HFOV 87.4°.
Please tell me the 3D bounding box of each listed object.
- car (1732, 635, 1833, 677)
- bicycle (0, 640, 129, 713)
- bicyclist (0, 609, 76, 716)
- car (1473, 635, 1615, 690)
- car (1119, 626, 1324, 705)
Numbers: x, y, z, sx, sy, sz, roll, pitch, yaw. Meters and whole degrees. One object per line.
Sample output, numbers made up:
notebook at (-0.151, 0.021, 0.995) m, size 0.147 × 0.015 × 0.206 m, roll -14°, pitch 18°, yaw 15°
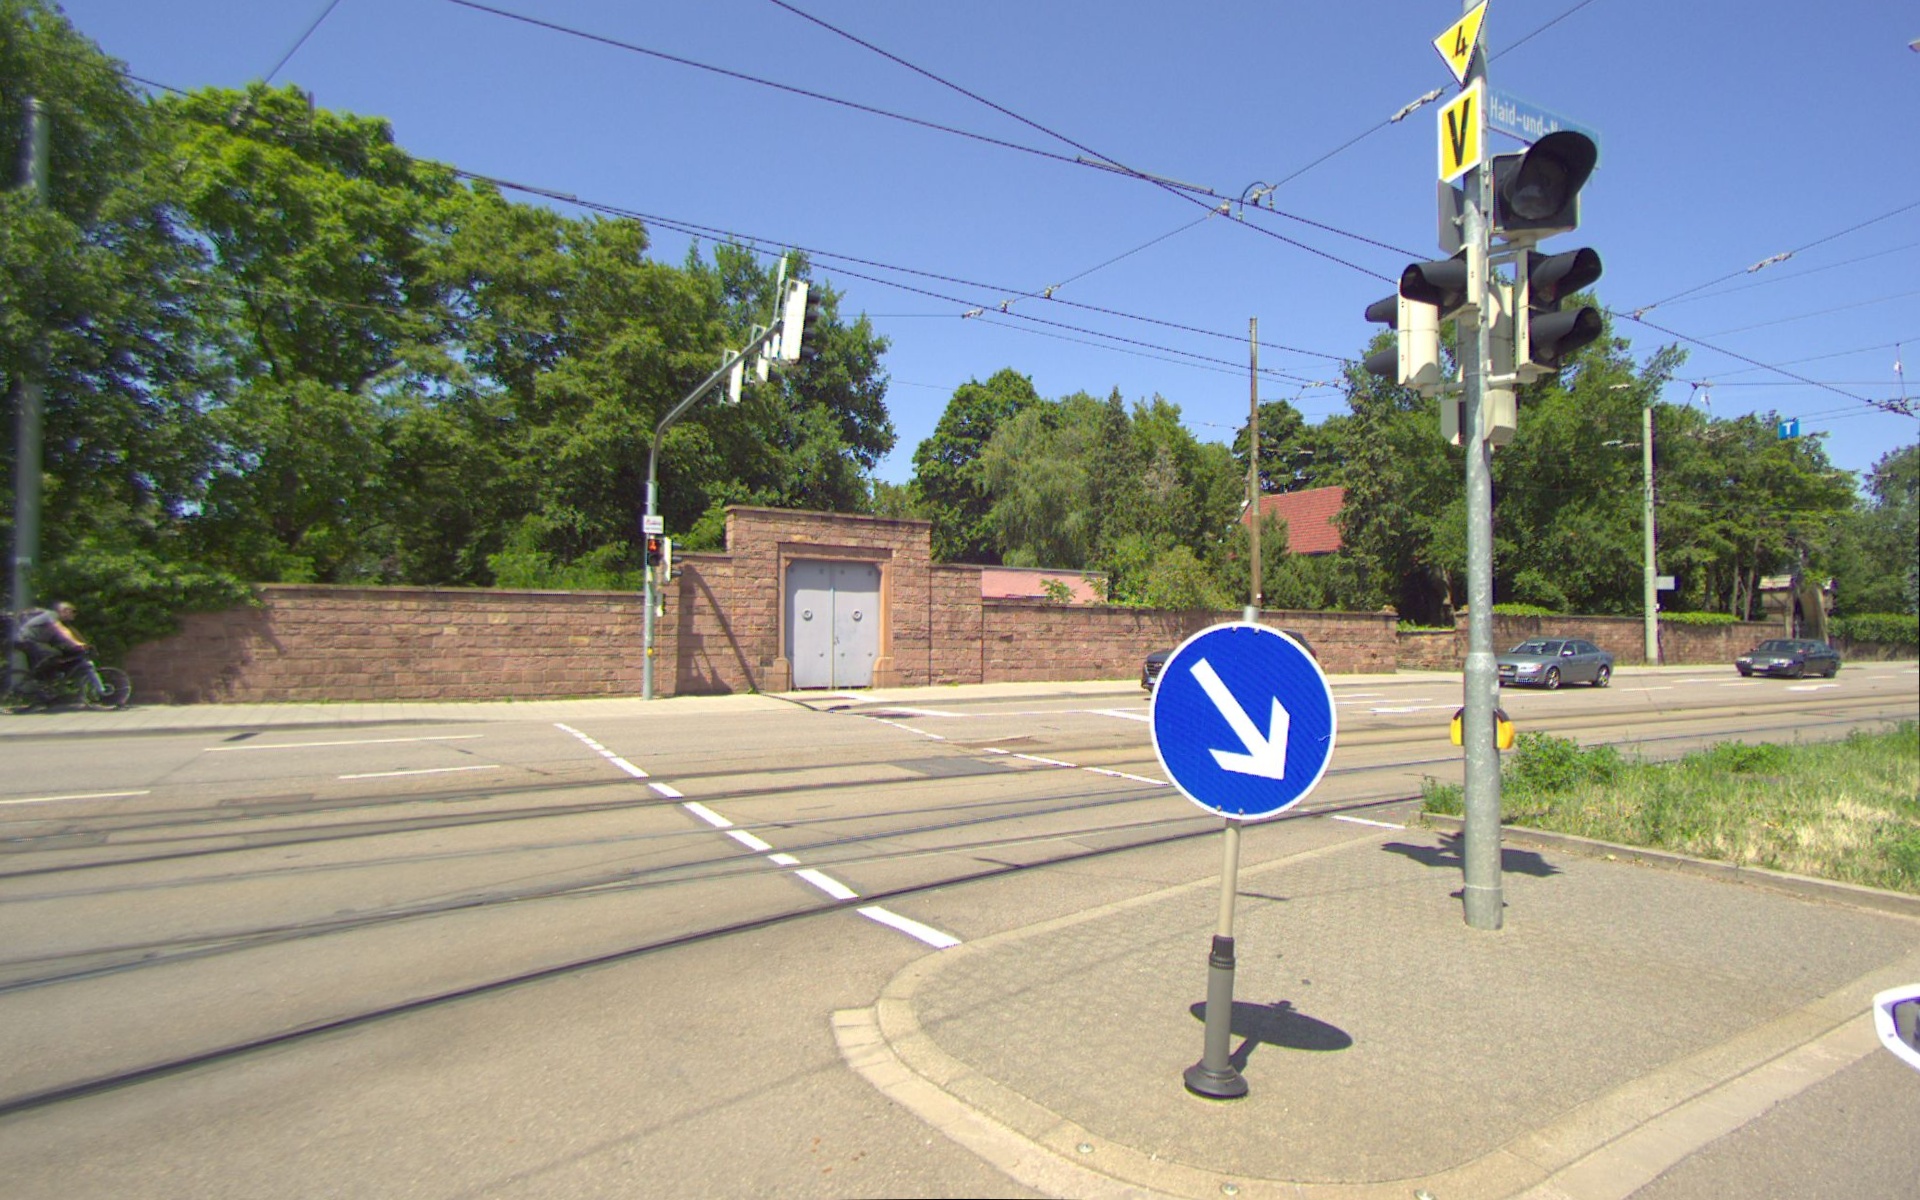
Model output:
car at (30.194, 2.045, 36.858) m, size 4.069 × 1.418 × 1.633 m, roll 2°, pitch 0°, yaw -31°
bicycle at (-13.798, 1.124, 14.947) m, size 2.079 × 1.054 × 0.711 m, roll 2°, pitch -2°, yaw -30°
bicyclist at (-13.831, 0.916, 14.934) m, size 0.835 × 1.551 × 0.847 m, roll 2°, pitch -2°, yaw -30°
car at (16.951, 1.779, 29.118) m, size 4.115 × 1.440 × 1.634 m, roll 2°, pitch 0°, yaw -28°
car at (5.905, 1.420, 22.517) m, size 4.465 × 1.624 × 1.812 m, roll 2°, pitch -2°, yaw -29°
